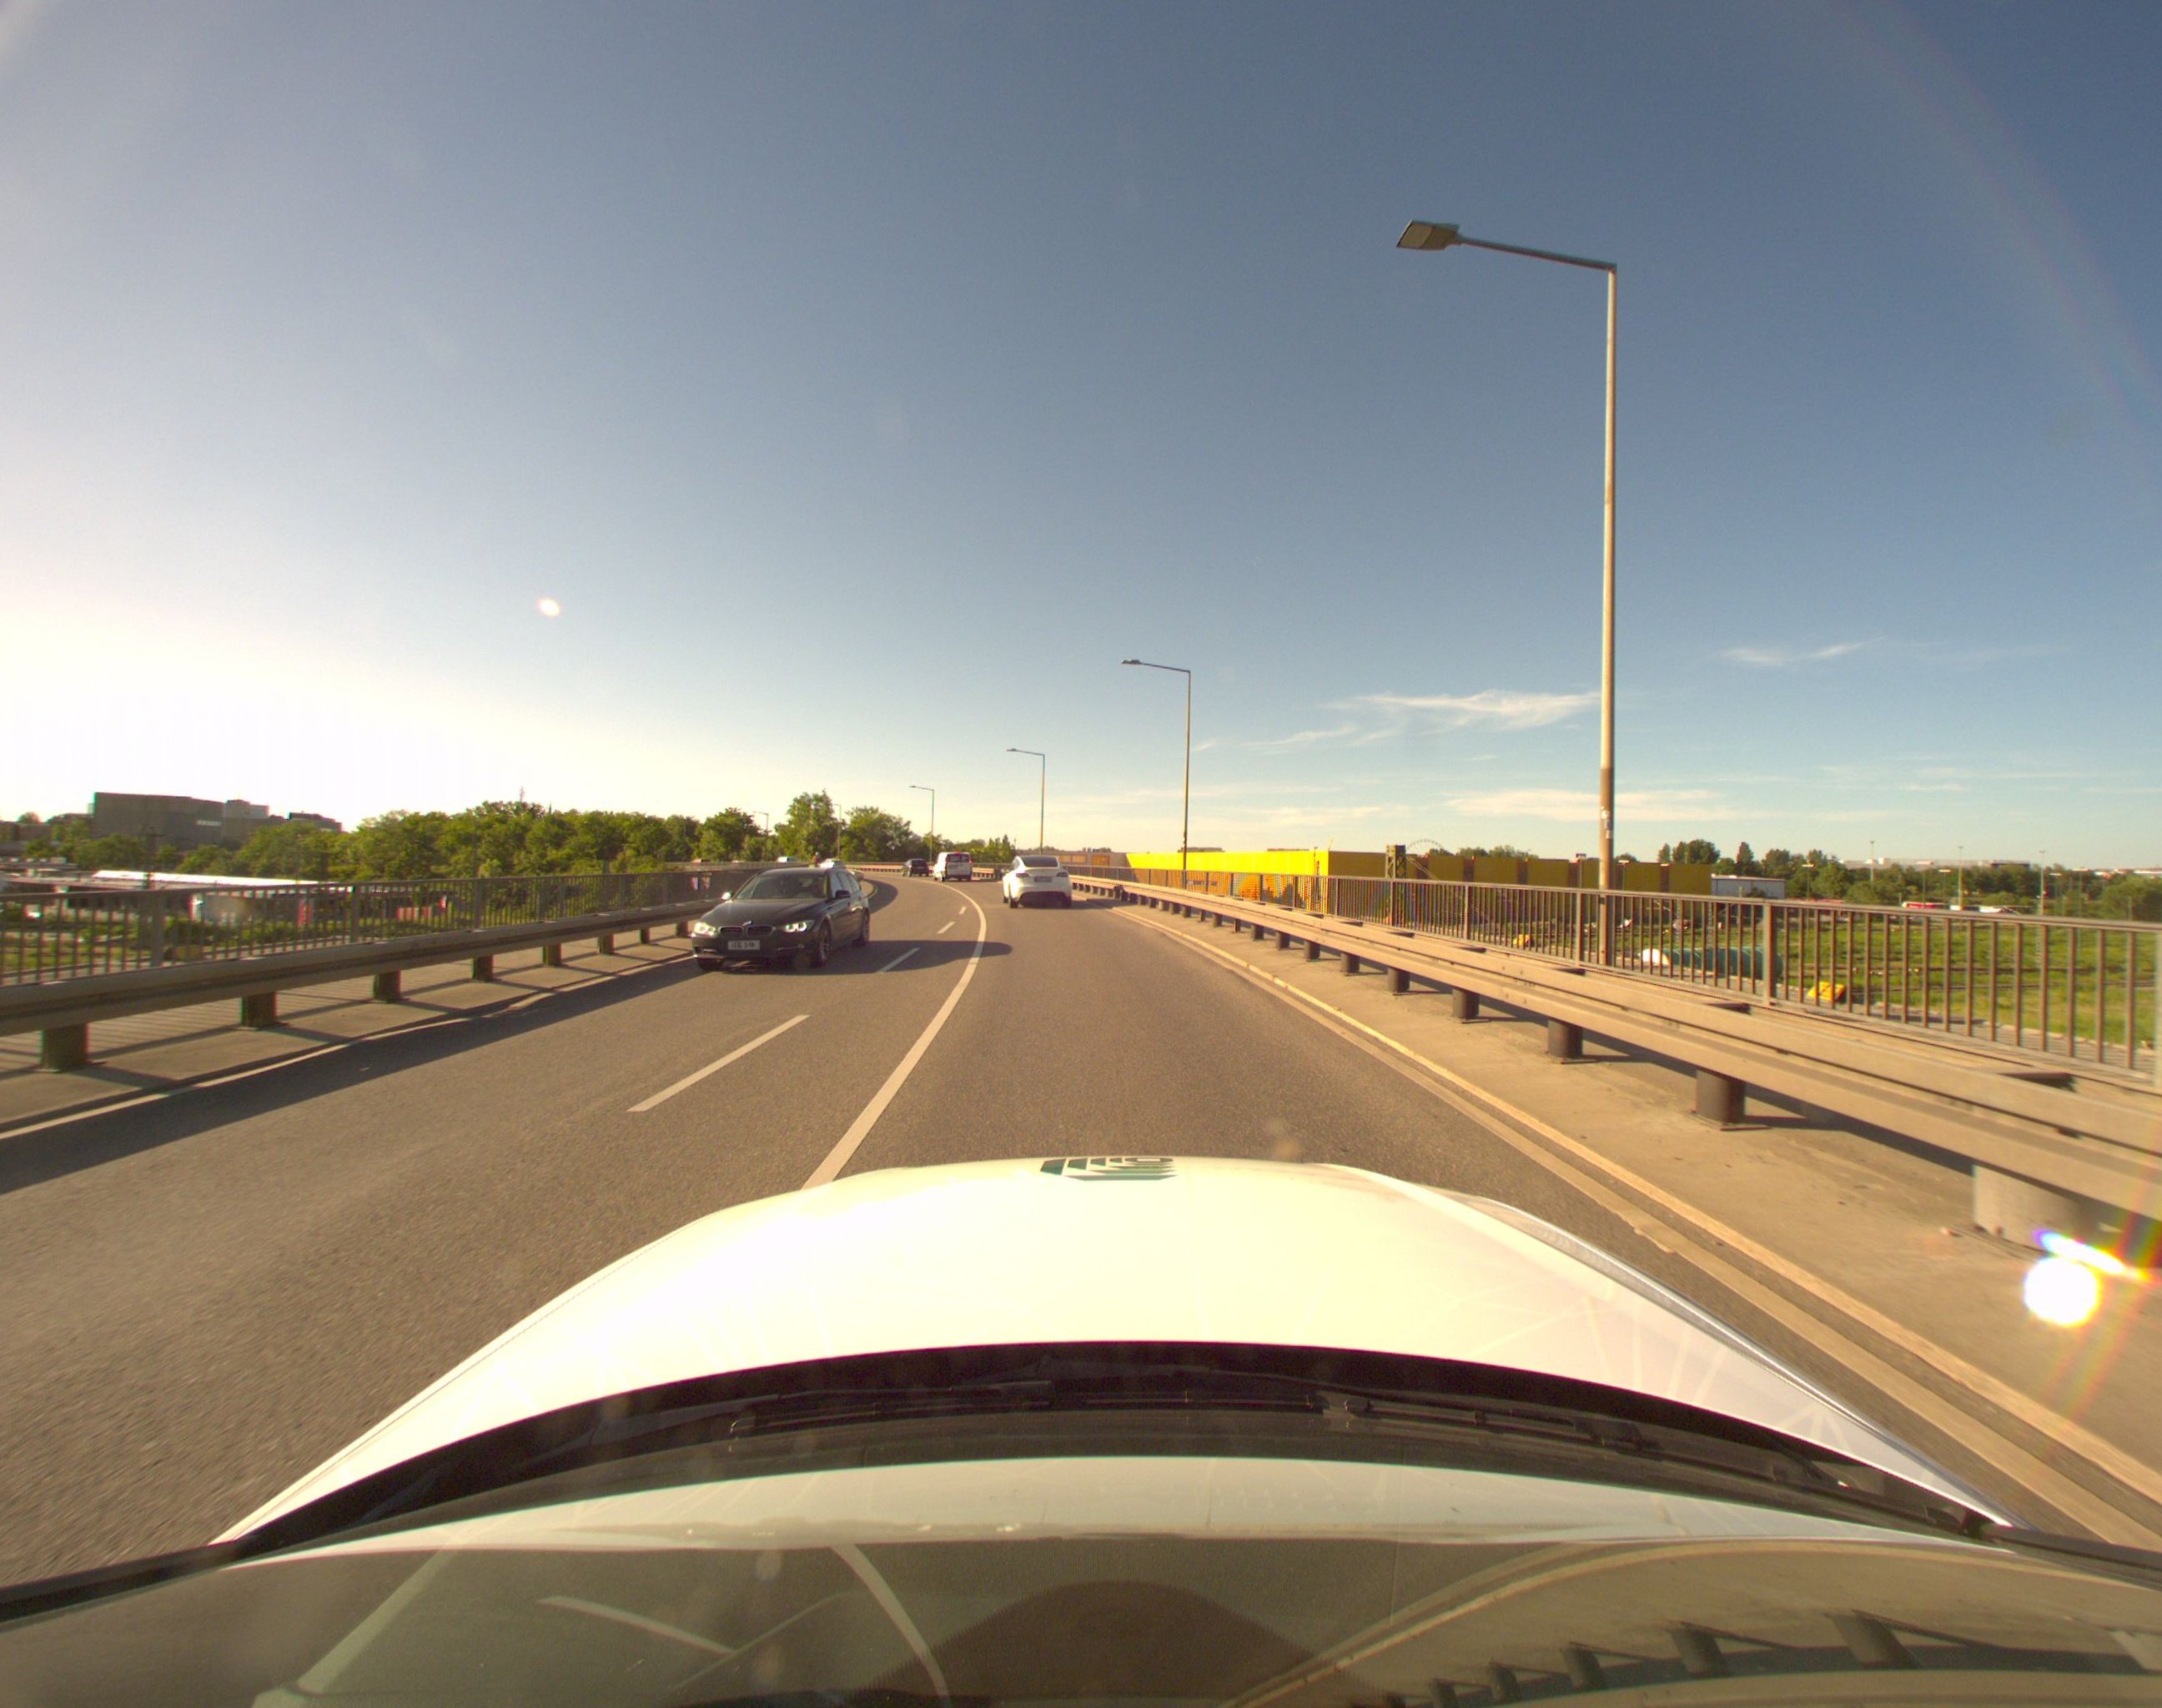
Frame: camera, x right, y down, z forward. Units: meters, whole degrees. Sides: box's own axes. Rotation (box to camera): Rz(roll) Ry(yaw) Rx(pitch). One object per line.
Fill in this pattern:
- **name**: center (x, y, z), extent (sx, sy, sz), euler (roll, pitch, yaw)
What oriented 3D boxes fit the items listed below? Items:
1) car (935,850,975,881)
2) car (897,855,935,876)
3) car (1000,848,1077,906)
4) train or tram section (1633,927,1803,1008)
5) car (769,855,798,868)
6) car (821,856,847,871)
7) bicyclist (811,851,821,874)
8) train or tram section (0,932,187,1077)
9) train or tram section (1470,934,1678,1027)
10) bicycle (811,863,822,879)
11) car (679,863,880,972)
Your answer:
- **car**: center (-8.226, 0.740, 52.824), extent (2.010, 1.940, 4.441), euler (0, -1, -17)
- **car**: center (-13.587, 0.986, 66.814), extent (1.980, 1.638, 3.963), euler (-1, -1, -28)
- **car**: center (-1.446, 0.709, 26.202), extent (1.985, 1.638, 4.049), euler (-2, -1, -10)
- **train or tram section**: center (51.246, 8.881, 65.342), extent (15.183, 5.183, 3.314), euler (-1, -1, -21)
- **car**: center (-37.851, 0.921, 103.620), extent (3.843, 1.556, 1.853), euler (-1, -1, 39)
- **car**: center (-27.714, 1.052, 91.289), extent (1.871, 1.585, 3.876), euler (0, -1, -31)
- **bicyclist**: center (-18.389, 0.593, 56.535), extent (0.656, 1.589, 0.763), euler (0, -1, -20)
- **train or tram section**: center (-43.290, 5.503, 28.065), extent (16.774, 4.591, 3.879), euler (-1, -1, -21)
- **train or tram section**: center (36.301, 9.018, 59.665), extent (16.886, 5.262, 3.314), euler (-1, -1, -21)
- **bicycle**: center (-18.412, 1.197, 56.613), extent (0.656, 1.065, 1.877), euler (0, -1, -20)
- **car**: center (-4.630, 0.877, 13.242), extent (1.869, 1.439, 4.315), euler (-1, 0, -4)
